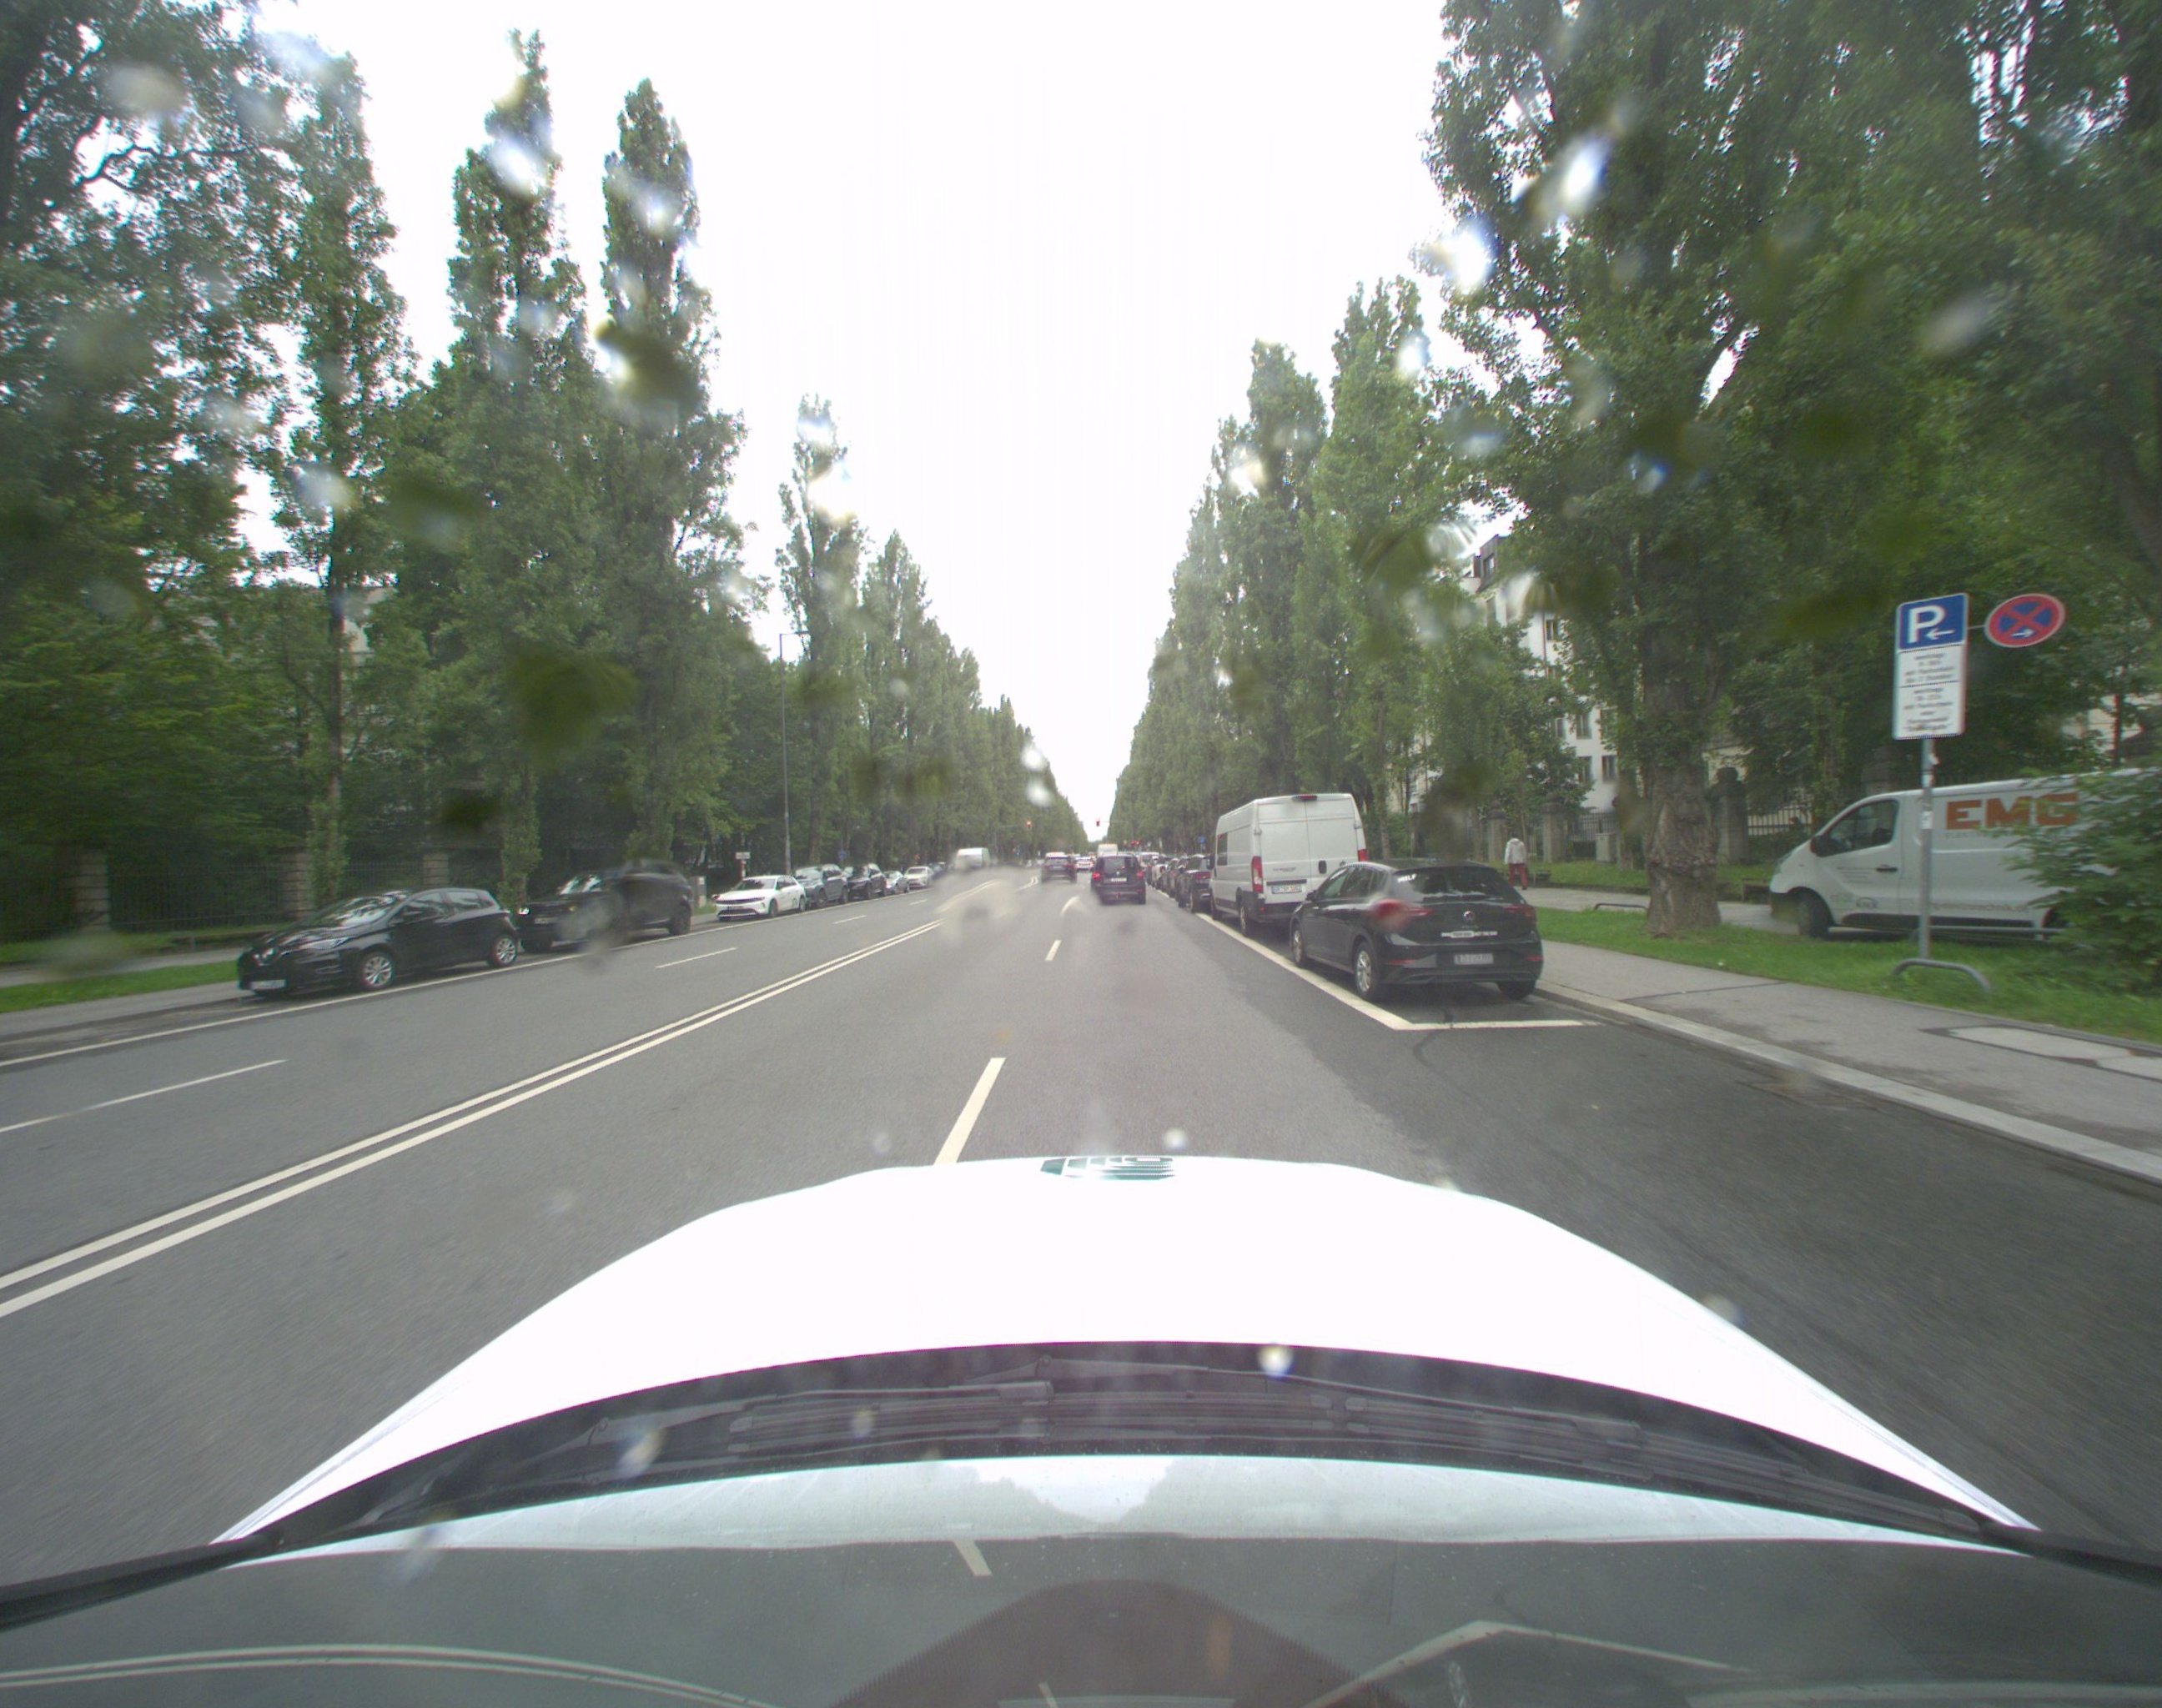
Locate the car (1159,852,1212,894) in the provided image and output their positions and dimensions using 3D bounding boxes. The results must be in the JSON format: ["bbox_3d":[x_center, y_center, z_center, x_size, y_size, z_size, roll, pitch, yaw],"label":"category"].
[{"bbox_3d":[4.213,0.726,33.421,1.696,1.519,4.296,-2,0,1],"label":"car"}]

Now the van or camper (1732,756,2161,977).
[{"bbox_3d":[10.501,0.080,9.427,1.968,1.933,5.039,-1,0,1],"label":"van or camper"}]

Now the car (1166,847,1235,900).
[{"bbox_3d":[4.077,0.608,28.394,1.777,1.618,4.639,-2,0,1],"label":"car"}]

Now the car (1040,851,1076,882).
[{"bbox_3d":[-1.290,0.675,46.507,1.775,1.620,4.026,-1,0,2],"label":"car"}]

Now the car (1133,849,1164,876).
[{"bbox_3d":[4.989,0.620,60.432,1.845,1.881,4.167,-2,0,-1],"label":"car"}]

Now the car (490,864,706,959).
[{"bbox_3d":[-11.304,1.253,19.593,2.038,1.786,4.802,-4,0,2],"label":"car"}]

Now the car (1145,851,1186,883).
[{"bbox_3d":[4.467,0.650,43.673,1.873,1.540,4.466,-2,0,2],"label":"car"}]

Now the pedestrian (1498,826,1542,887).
[{"bbox_3d":[13.305,0.068,24.690,0.792,1.768,0.895,-2,0,1],"label":"pedestrian"}]

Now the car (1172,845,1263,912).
[{"bbox_3d":[3.781,0.628,23.282,1.779,1.648,4.416,-2,0,-1],"label":"car"}]

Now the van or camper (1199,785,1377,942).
[{"bbox_3d":[3.923,0.164,16.791,2.131,2.540,6.419,-2,0,2],"label":"van or camper"}]

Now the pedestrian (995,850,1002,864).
[{"bbox_3d":[-9.796,0.364,96.608,0.657,1.577,0.530,-3,0,2],"label":"pedestrian"}]

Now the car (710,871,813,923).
[{"bbox_3d":[-10.945,1.421,28.271,1.698,1.459,4.274,-4,0,1],"label":"car"}]

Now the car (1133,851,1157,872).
[{"bbox_3d":[5.311,0.619,67.805,1.734,1.593,4.213,-2,0,2],"label":"car"}]

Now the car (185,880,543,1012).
[{"bbox_3d":[-11.587,1.368,13.700,1.937,1.583,4.391,-4,0,2],"label":"car"}]

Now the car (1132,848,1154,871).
[{"bbox_3d":[5.550,0.466,73.101,1.729,1.895,4.026,-2,0,1],"label":"car"}]

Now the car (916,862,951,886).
[{"bbox_3d":[-10.433,1.396,57.879,1.704,1.451,3.585,-5,0,0],"label":"car"}]

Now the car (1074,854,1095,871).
[{"bbox_3d":[0.401,0.786,80.840,1.987,1.560,4.000,-2,0,1],"label":"car"}]

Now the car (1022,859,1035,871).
[{"bbox_3d":[-8.456,1.729,130.597,1.682,1.783,3.776,-2,0,2],"label":"car"}]

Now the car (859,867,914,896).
[{"bbox_3d":[-10.667,1.472,44.980,1.820,1.334,4.234,-5,0,1],"label":"car"}]

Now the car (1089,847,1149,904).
[{"bbox_3d":[1.248,0.680,27.430,1.849,1.770,4.002,0,0,2],"label":"car"}]

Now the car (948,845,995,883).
[{"bbox_3d":[-7.908,0.711,59.581,2.220,2.483,6.759,-4,0,1],"label":"car"}]

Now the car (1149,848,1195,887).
[{"bbox_3d":[4.222,0.587,38.355,1.736,1.675,4.581,-2,0,1],"label":"car"}]

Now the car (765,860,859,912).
[{"bbox_3d":[-10.954,1.249,33.583,1.903,1.789,5.181,-5,0,1],"label":"car"}]

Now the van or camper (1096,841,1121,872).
[{"bbox_3d":[2.325,0.176,70.413,1.969,2.548,4.024,-2,0,0],"label":"van or camper"}]

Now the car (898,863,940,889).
[{"bbox_3d":[-10.640,1.432,53.689,1.765,1.452,4.233,-5,0,0],"label":"car"}]

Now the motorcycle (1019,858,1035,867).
[{"bbox_3d":[-8.094,1.310,122.135,2.354,1.269,0.930,-2,0,1],"label":"motorcycle"}]

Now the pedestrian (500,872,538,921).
[{"bbox_3d":[-20.761,1.552,30.082,0.664,1.741,0.957,-2,0,2],"label":"pedestrian"}]

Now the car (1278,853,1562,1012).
[{"bbox_3d":[3.667,0.737,9.640,1.671,1.420,3.999,-2,0,0],"label":"car"}]

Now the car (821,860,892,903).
[{"bbox_3d":[-10.717,1.265,39.303,1.934,1.767,4.895,-5,0,0],"label":"car"}]

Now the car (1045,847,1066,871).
[{"bbox_3d":[-2.285,0.444,73.232,1.776,2.111,4.022,-2,0,-1],"label":"car"}]
